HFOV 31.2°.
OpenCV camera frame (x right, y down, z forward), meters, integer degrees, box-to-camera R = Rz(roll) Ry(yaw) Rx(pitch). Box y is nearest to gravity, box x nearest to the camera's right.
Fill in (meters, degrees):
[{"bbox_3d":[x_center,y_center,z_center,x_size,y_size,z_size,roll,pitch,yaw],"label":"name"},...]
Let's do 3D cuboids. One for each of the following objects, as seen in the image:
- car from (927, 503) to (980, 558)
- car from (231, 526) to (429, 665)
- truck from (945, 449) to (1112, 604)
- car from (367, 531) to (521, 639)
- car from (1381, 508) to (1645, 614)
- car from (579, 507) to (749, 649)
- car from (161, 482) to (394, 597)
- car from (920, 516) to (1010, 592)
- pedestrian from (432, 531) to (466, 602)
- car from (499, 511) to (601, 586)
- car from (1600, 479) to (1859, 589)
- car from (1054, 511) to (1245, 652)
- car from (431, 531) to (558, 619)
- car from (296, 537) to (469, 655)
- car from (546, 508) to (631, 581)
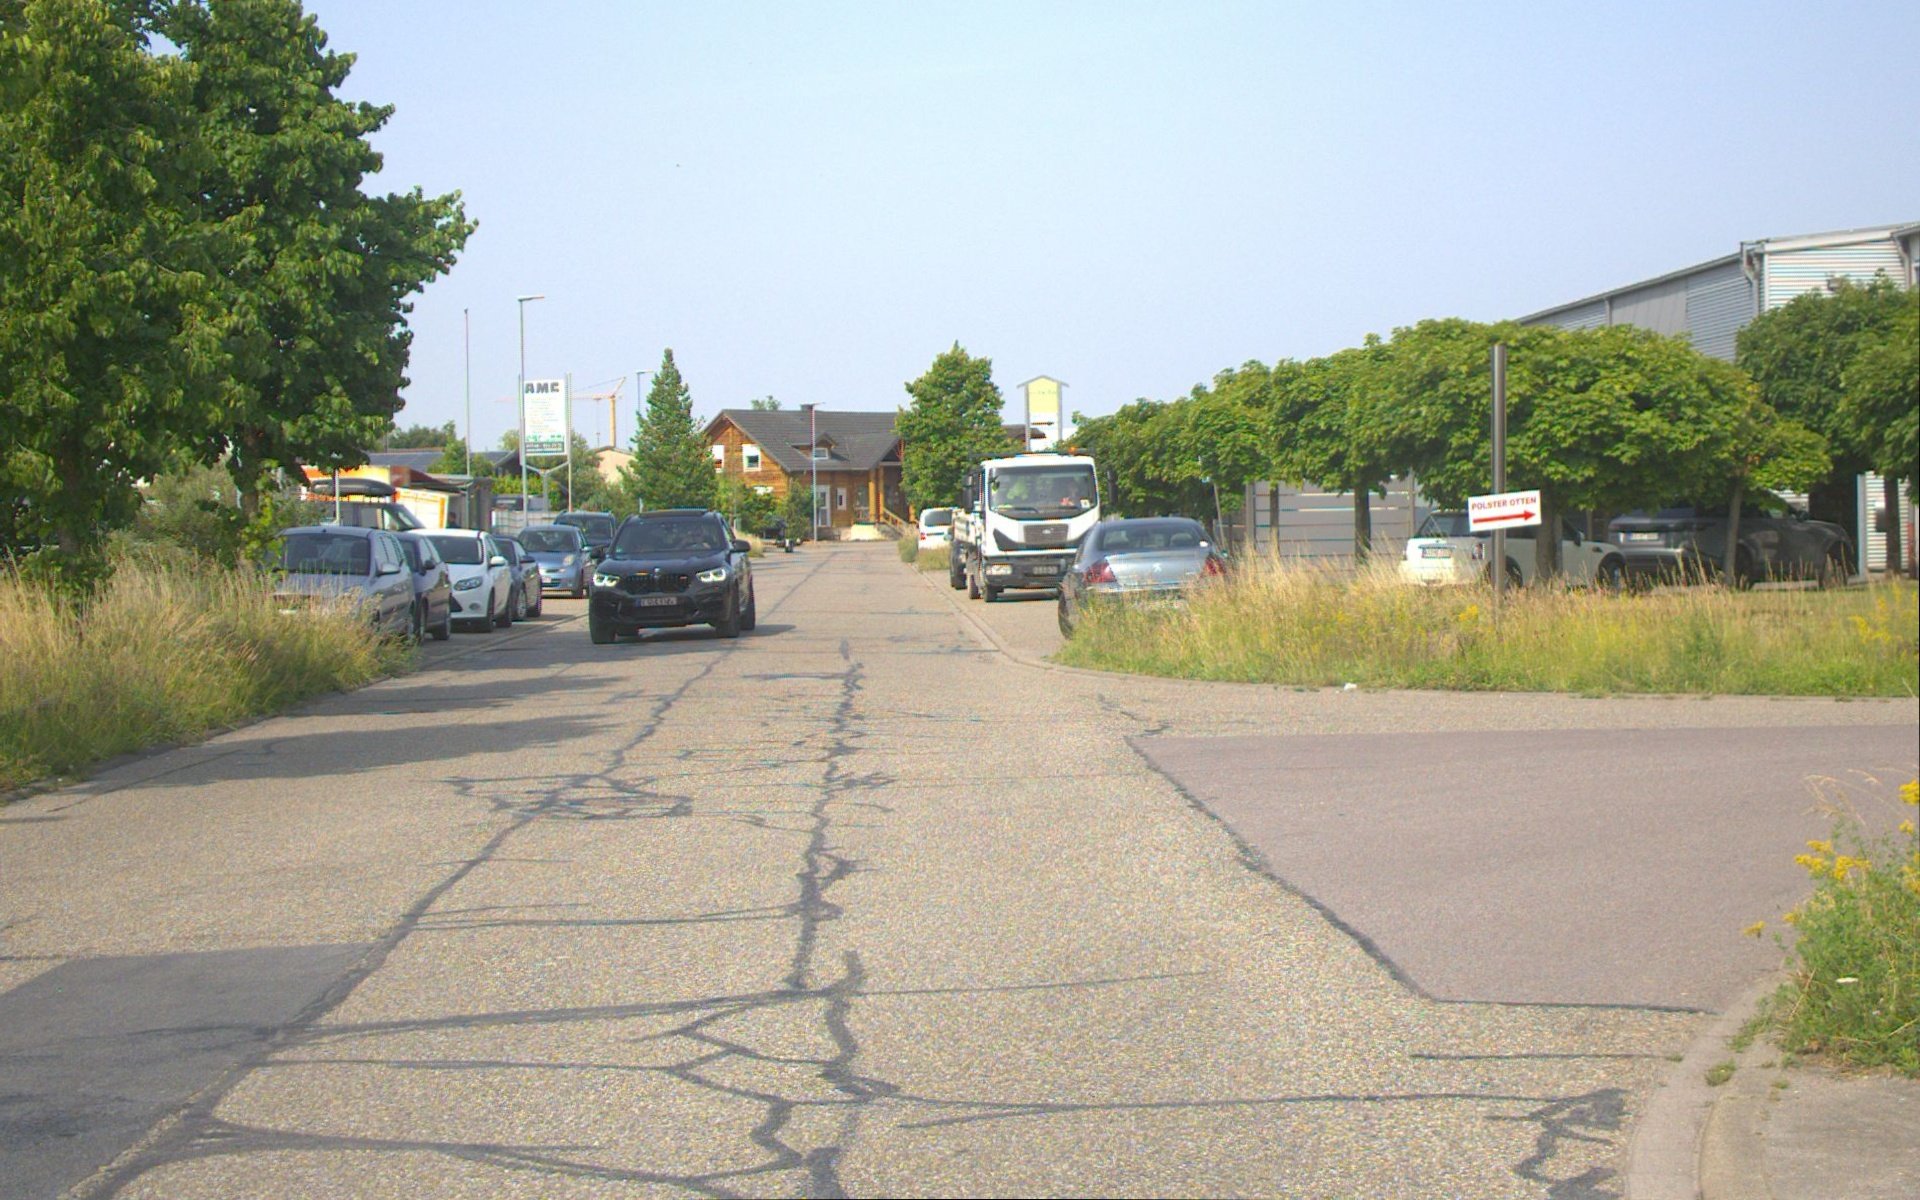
[{"bbox_3d":[-0.252,-2.551,125.699,1.837,1.917,3.756,-2,1,-1],"label":"car"},{"bbox_3d":[-7.317,-0.088,40.204,1.566,1.533,3.688,1,1,1],"label":"car"},{"bbox_3d":[1.188,-1.357,63.478,2.359,2.672,6.512,-1,1,-5],"label":"truck"},{"bbox_3d":[-7.409,-0.251,49.685,1.683,1.464,4.254,1,1,-1],"label":"car"},{"bbox_3d":[7.824,-0.570,48.503,3.687,1.375,1.687,-3,2,-41],"label":"car"},{"bbox_3d":[-3.858,-0.324,45.378,1.856,1.709,4.227,-2,1,-1],"label":"car"},{"bbox_3d":[-14.891,-1.320,75.163,4.627,2.408,2.000,-1,1,1],"label":"car"},{"bbox_3d":[0.080,-0.997,73.359,1.794,1.555,4.000,-1,1,-1],"label":"car"},{"bbox_3d":[-12.341,-0.811,83.066,0.562,1.709,0.534,-2,2,-39],"label":"pedestrian"},{"bbox_3d":[-8.584,-1.096,72.139,1.633,1.512,3.605,1,1,1],"label":"car"},{"bbox_3d":[11.659,-1.013,51.924,1.686,1.583,4.522,0,2,44],"label":"car"},{"bbox_3d":[2.139,-0.255,39.881,1.794,1.512,4.425,-1,1,-2],"label":"car"},{"bbox_3d":[-7.686,-0.439,57.084,1.633,1.382,4.370,1,1,-2],"label":"car"},{"bbox_3d":[-7.472,-0.080,44.762,1.578,1.438,3.963,1,1,0],"label":"car"},{"bbox_3d":[-9.306,-1.412,86.332,1.799,1.768,4.203,1,1,-2],"label":"car"}]
